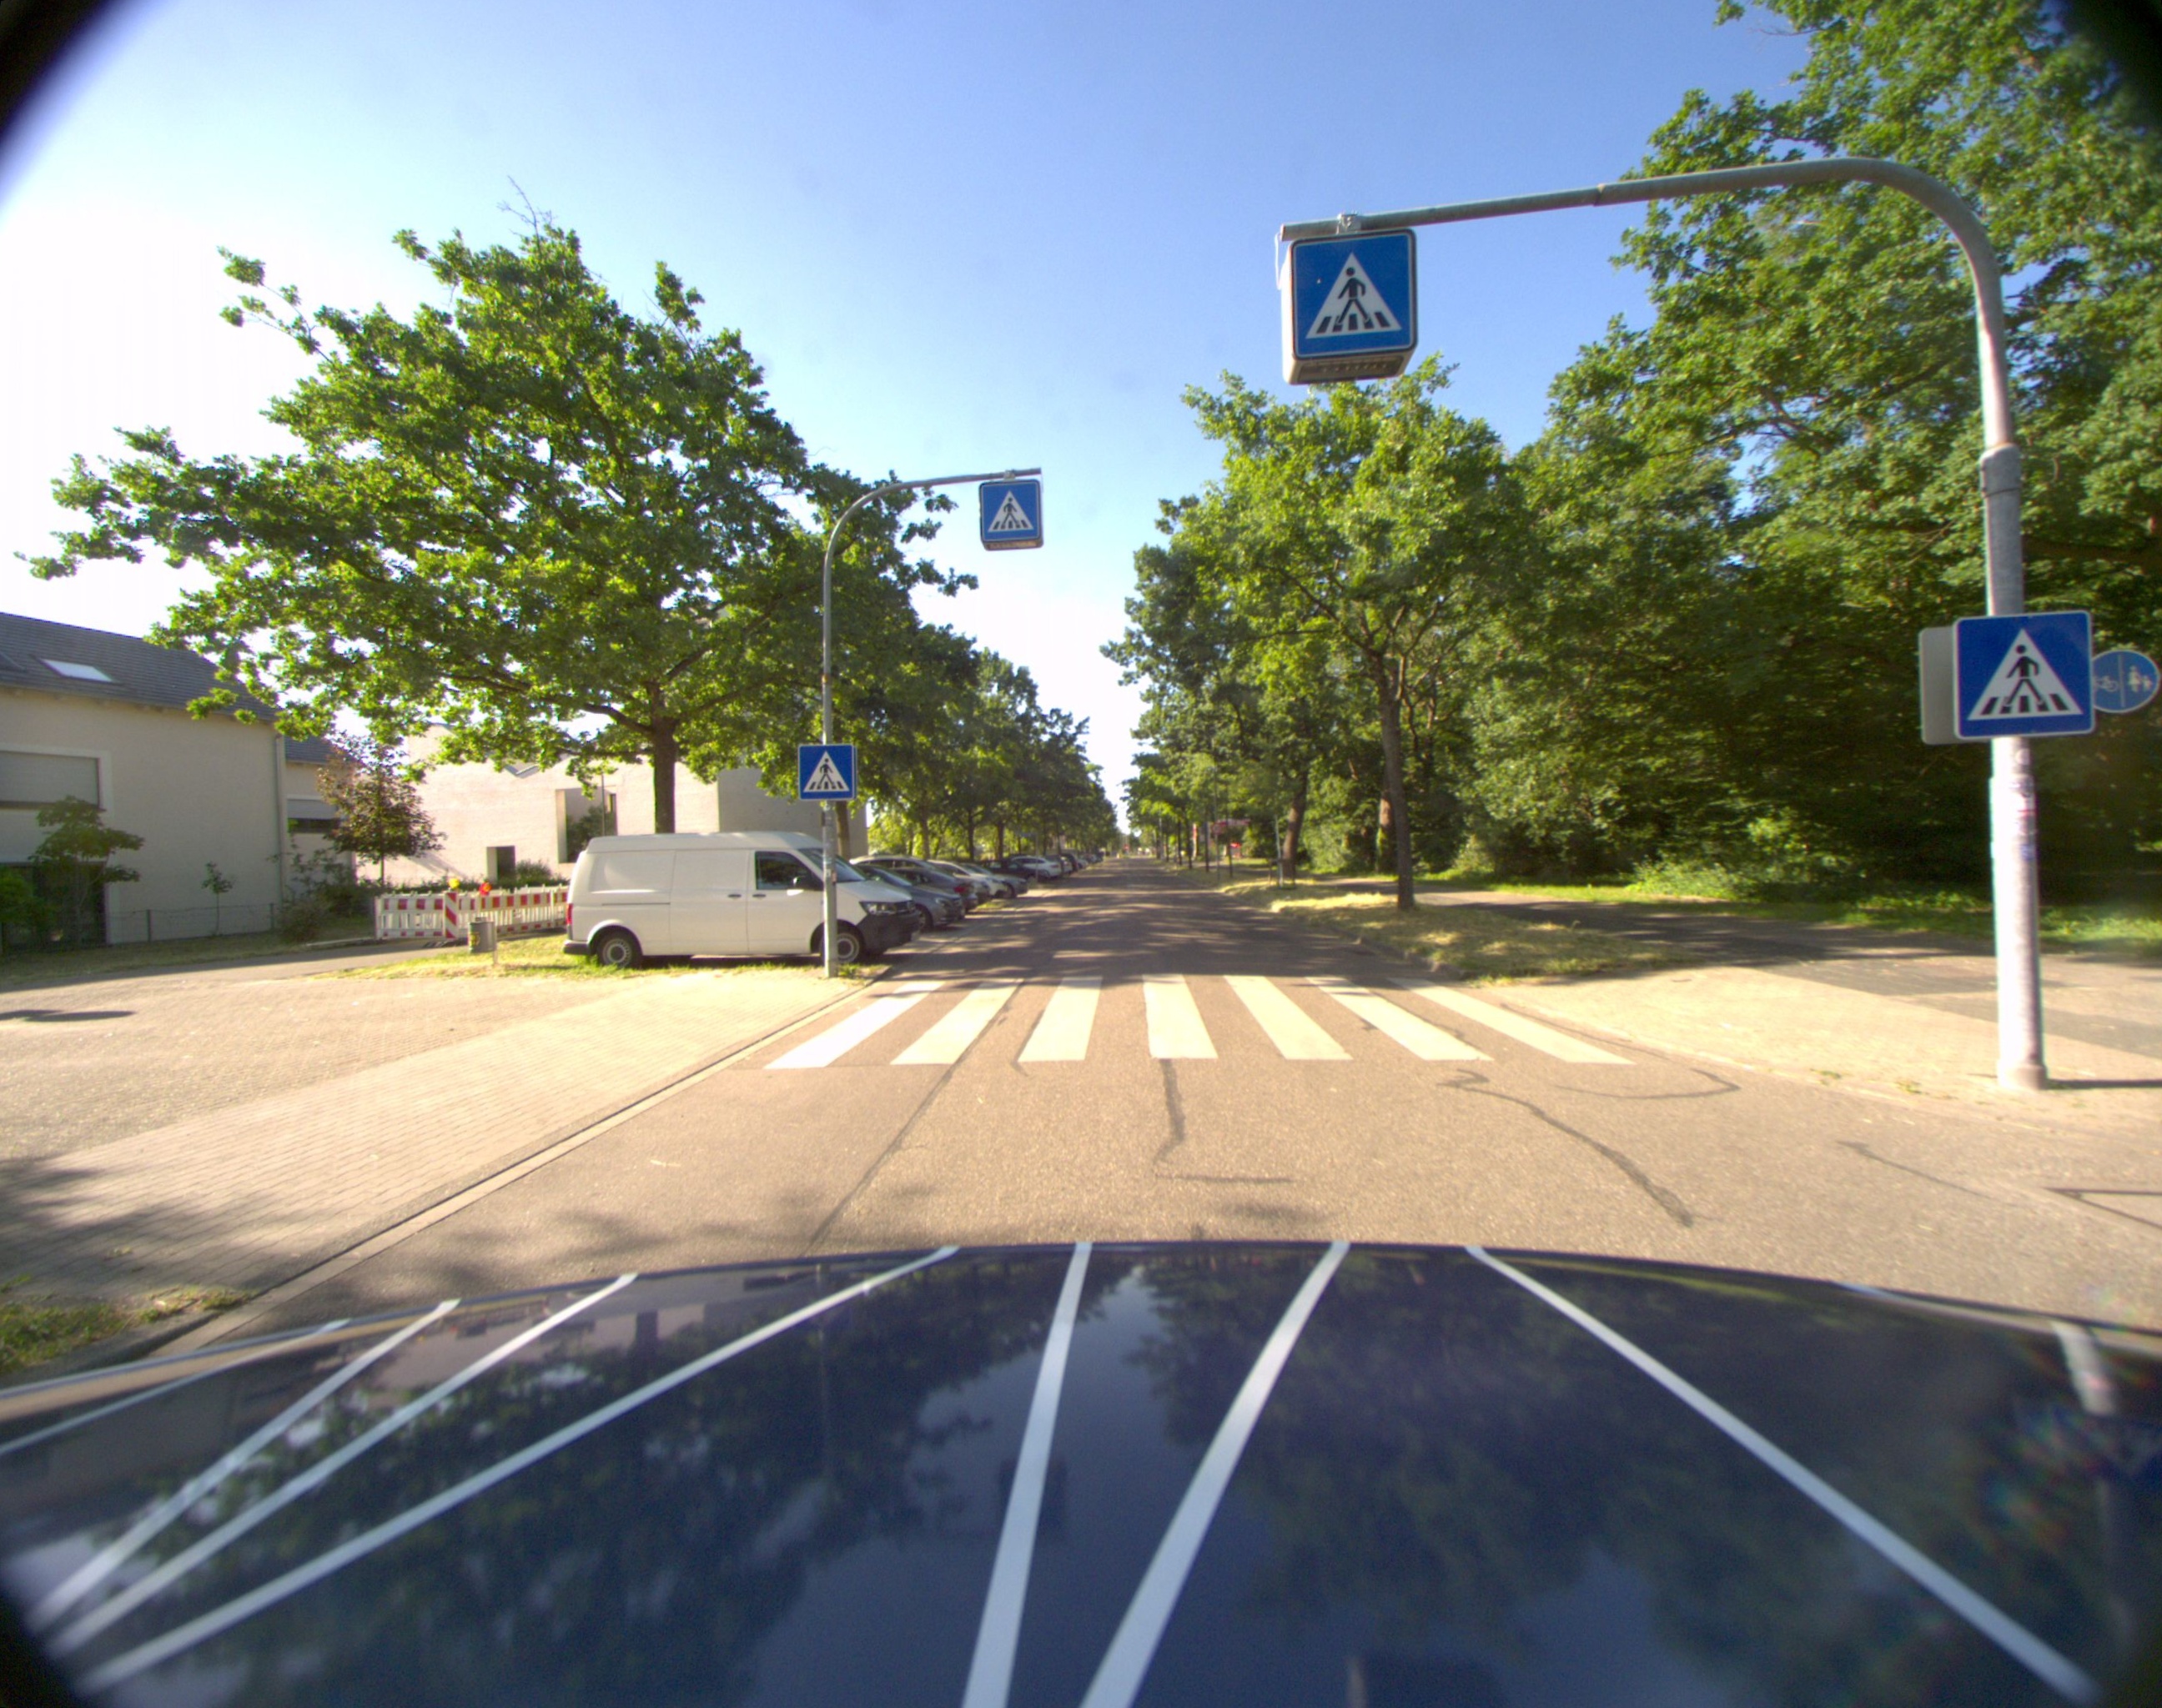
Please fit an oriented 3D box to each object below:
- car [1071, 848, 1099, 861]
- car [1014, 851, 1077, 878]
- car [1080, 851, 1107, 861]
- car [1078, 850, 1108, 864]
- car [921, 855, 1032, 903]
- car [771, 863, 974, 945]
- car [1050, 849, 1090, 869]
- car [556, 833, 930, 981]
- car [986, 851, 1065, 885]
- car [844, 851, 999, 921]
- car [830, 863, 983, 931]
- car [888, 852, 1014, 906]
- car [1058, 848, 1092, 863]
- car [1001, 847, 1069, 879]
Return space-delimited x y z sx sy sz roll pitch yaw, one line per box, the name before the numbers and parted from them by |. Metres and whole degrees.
car | 0.592 0.077 116.071 4.150 1.838 1.950 -3 0 4
car | -2.631 0.782 56.194 4.394 1.733 1.533 -3 0 5
car | 2.032 0.322 121.030 4.150 1.401 1.800 -3 0 4
car | 1.751 0.376 110.945 4.150 1.838 1.950 -3 0 4
car | -4.052 0.957 29.816 4.018 1.650 1.533 -3 0 5
car | -4.610 1.087 17.154 3.995 1.554 1.758 -3 0 5
car | -1.119 0.526 78.809 3.996 1.838 1.864 -3 0 4
car | -5.159 0.786 12.057 5.044 2.069 1.891 -1 1 3
car | -3.233 0.812 44.876 4.394 1.733 1.533 -3 0 5
car | -4.605 0.906 22.243 4.018 1.783 1.713 -3 0 5
car | -4.469 1.092 19.684 3.515 1.533 1.448 -3 0 5
car | -4.544 0.864 26.838 4.018 1.669 1.533 -3 0 5
car | -0.766 0.172 99.892 4.150 1.838 1.950 -3 0 4
car | -3.124 0.589 52.342 4.394 1.977 1.533 -3 1 5
